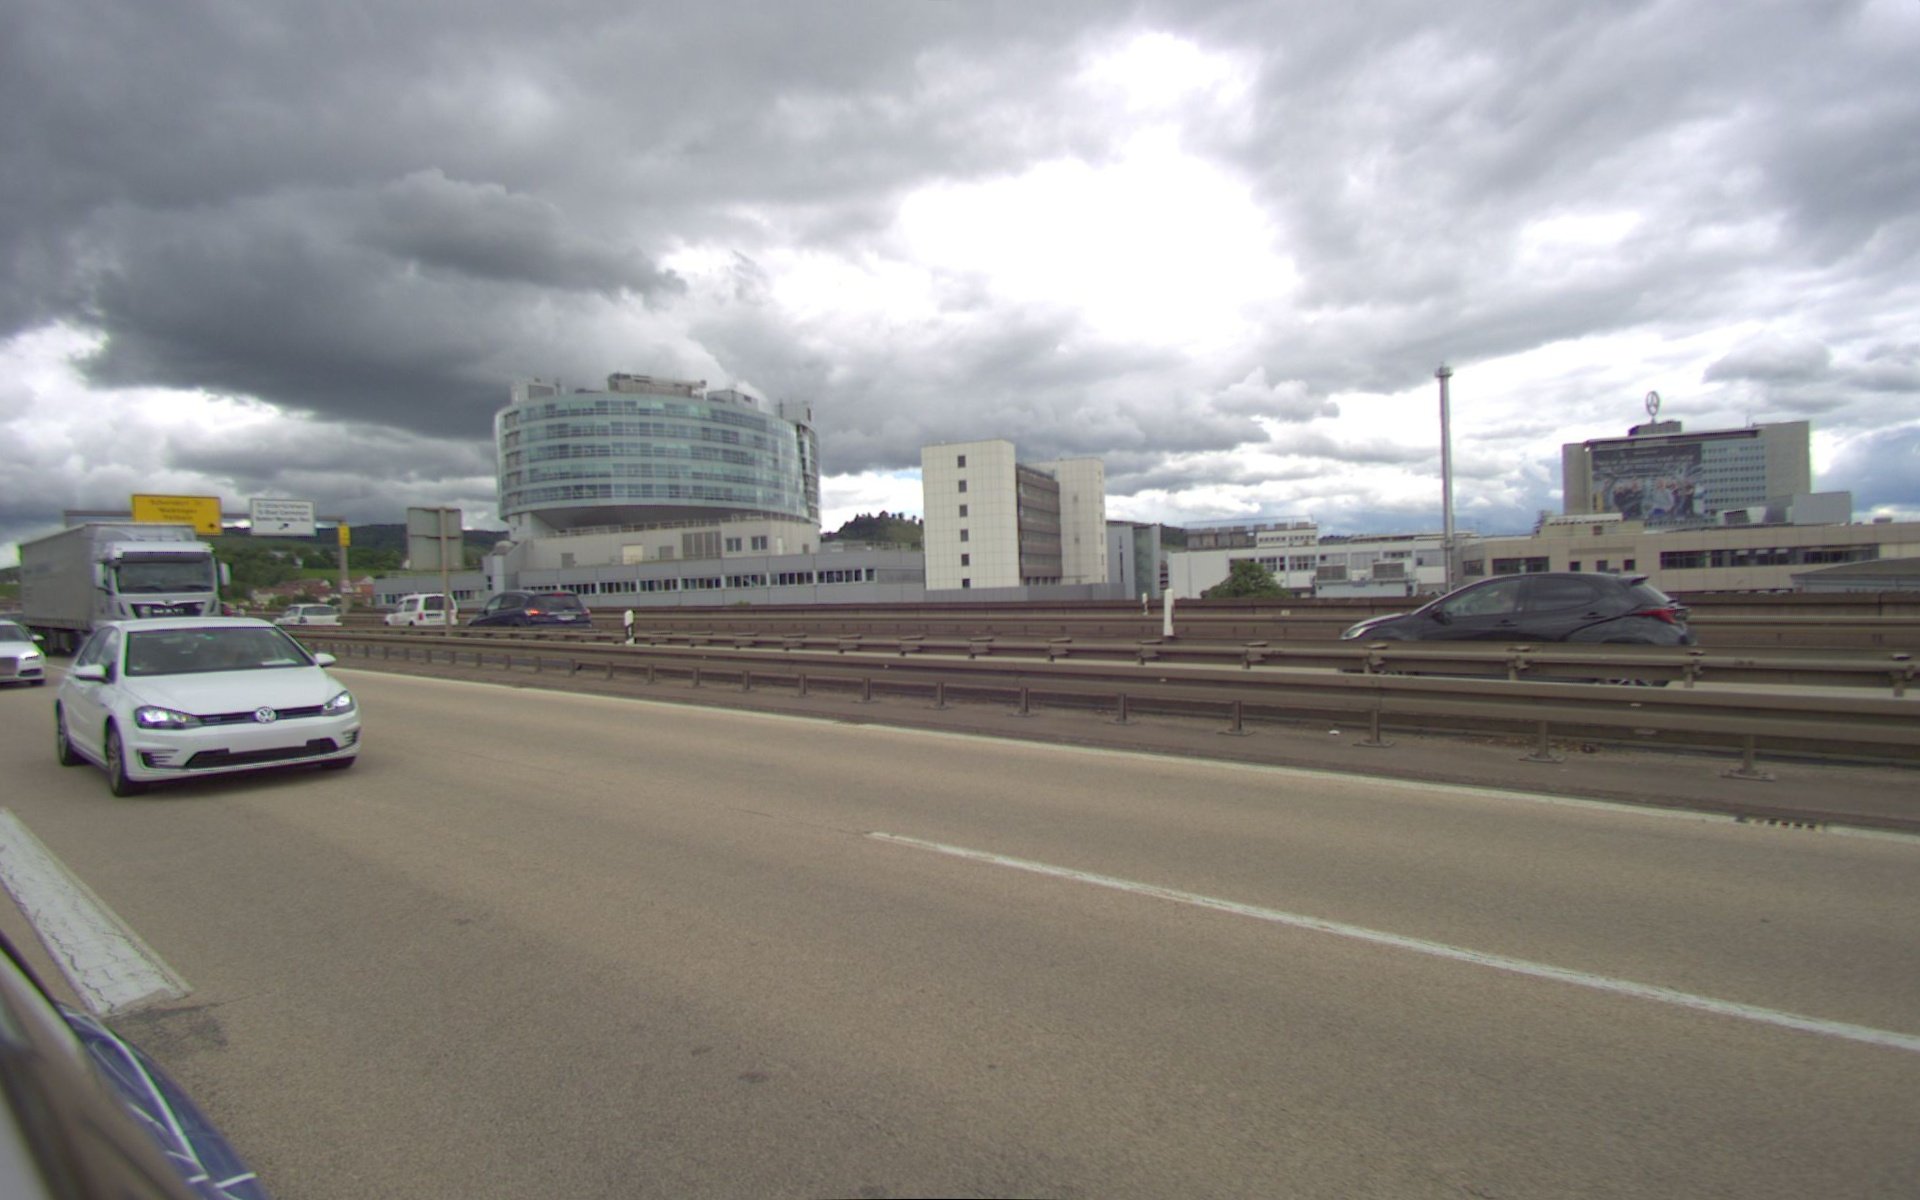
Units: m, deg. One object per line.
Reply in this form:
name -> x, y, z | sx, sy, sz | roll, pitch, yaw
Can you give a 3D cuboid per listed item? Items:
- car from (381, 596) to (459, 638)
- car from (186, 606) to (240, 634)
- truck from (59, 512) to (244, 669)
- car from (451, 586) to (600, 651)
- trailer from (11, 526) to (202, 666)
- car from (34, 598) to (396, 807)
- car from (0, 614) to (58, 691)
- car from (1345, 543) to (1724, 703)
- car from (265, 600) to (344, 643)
car -> -23.037, 0.702, 43.141 | 3.773, 1.662, 1.666 | -1, 1, 41
car -> -45.954, 1.231, 62.258 | 4.131, 1.602, 1.770 | -1, 1, 41
truck -> -23.376, -0.277, 29.192 | 5.686, 4.067, 3.102 | -1, 1, 41
car -> -11.944, 0.484, 27.707 | 4.605, 1.606, 1.906 | -1, 1, 41
trailer -> -29.227, -0.107, 34.364 | 11.760, 4.056, 3.148 | -1, 1, 41
car -> -7.214, 0.791, 9.657 | 4.059, 1.519, 1.906 | -1, 1, 41
car -> -20.943, 1.104, 21.663 | 4.059, 1.519, 1.906 | -1, 1, 41
car -> 6.914, 0.231, 12.366 | 3.773, 1.662, 1.666 | -1, 1, 41
car -> -26.374, 0.848, 40.687 | 3.773, 1.606, 1.666 | -1, 1, 41
